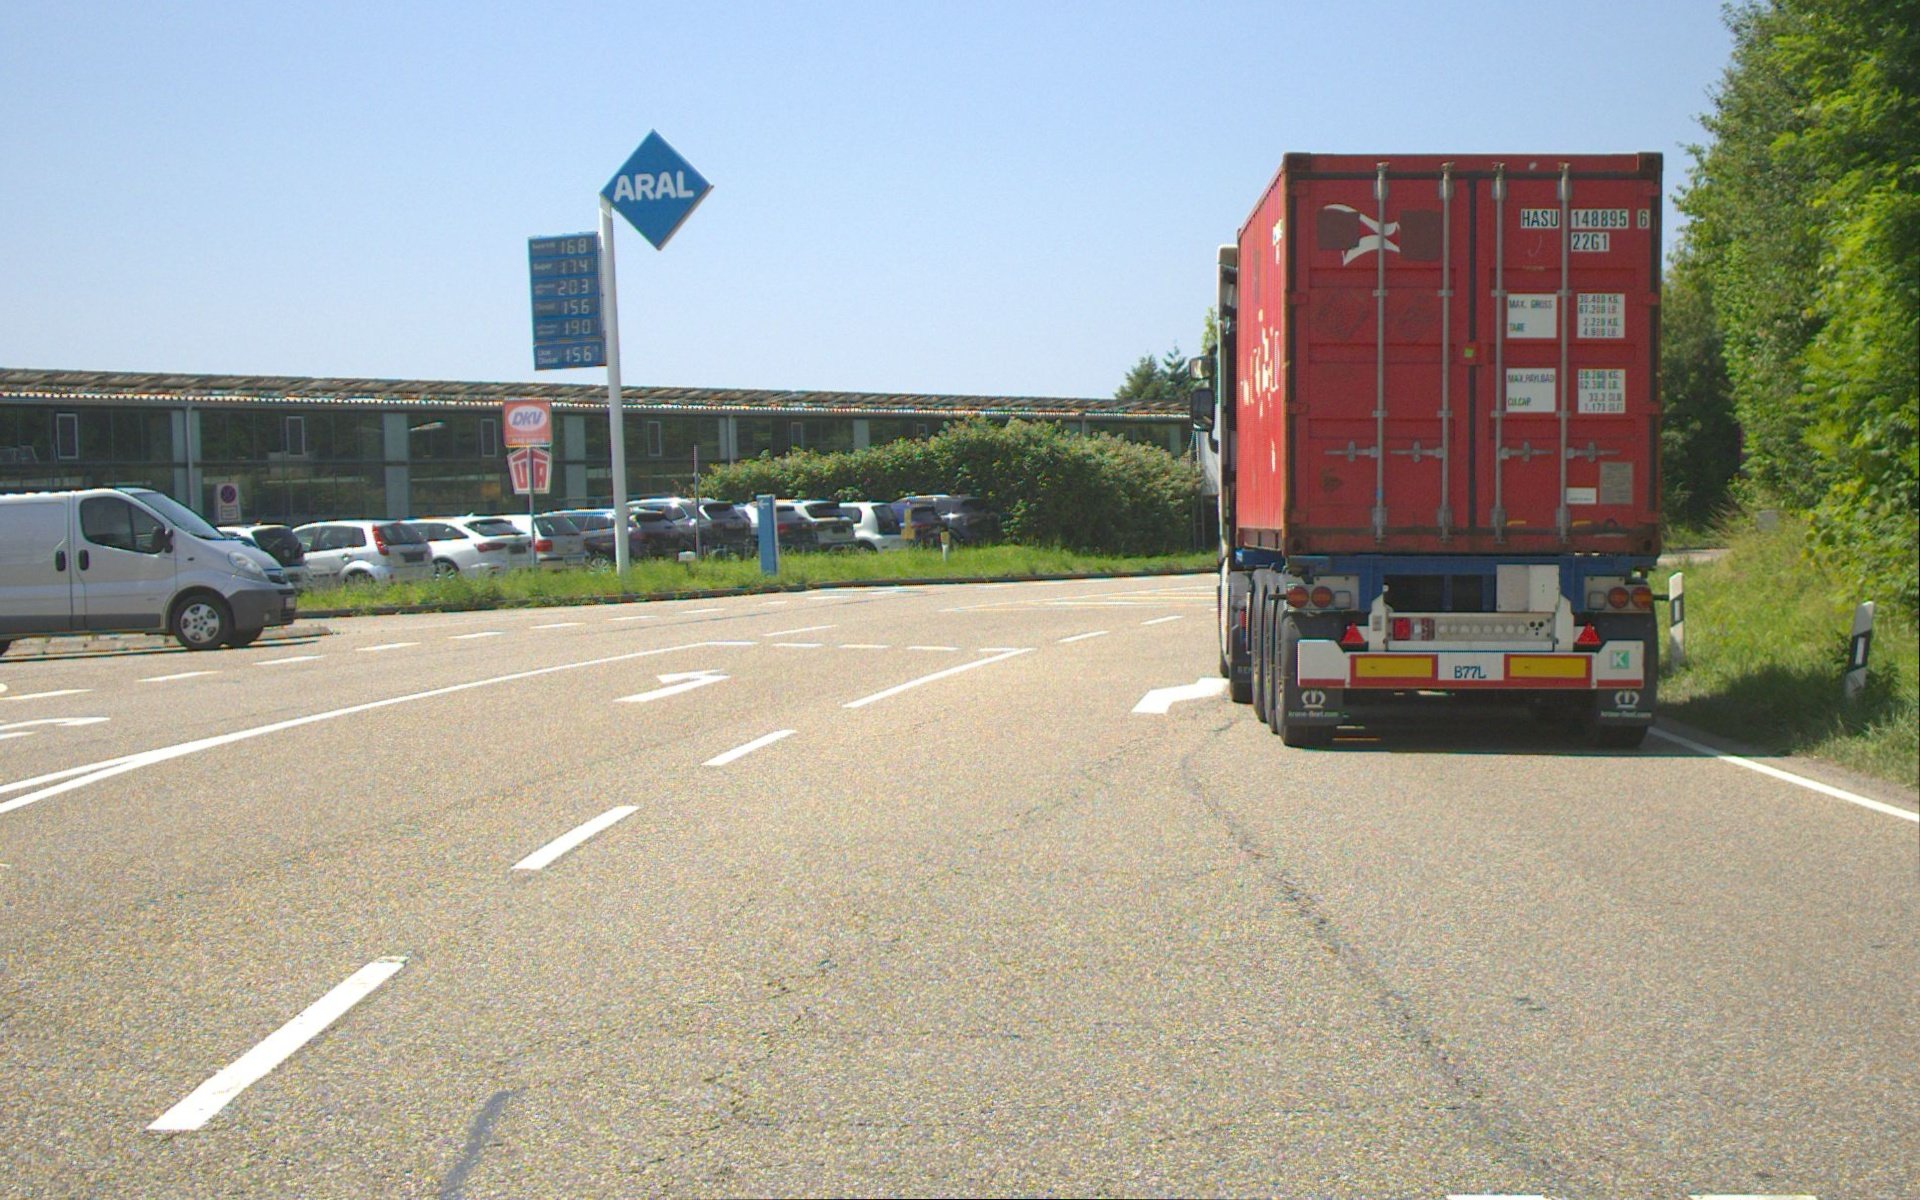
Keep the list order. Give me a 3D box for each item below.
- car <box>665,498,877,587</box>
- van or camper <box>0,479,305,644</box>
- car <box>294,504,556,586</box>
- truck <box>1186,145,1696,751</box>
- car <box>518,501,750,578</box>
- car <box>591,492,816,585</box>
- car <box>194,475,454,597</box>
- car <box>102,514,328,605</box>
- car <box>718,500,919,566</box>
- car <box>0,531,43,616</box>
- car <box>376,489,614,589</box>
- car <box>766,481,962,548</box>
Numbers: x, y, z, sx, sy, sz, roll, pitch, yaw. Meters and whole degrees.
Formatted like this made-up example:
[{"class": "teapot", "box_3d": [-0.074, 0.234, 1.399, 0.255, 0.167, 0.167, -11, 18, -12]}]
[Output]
[{"class": "car", "box_3d": [-4.036, -1.221, 73.416, 3.993, 1.744, 1.997, -1, 1, 28]}, {"class": "van or camper", "box_3d": [-10.346, -0.448, 40.575, 4.847, 1.898, 1.904, 0, 0, 2]}, {"class": "car", "box_3d": [-9.621, -0.993, 61.843, 4.242, 1.354, 1.997, -1, 2, 26]}, {"class": "truck", "box_3d": [3.505, -1.155, 28.643, 2.648, 3.793, 13.360, 2, 2, 2]}, {"class": "car", "box_3d": [-6.321, -1.167, 66.602, 3.993, 1.327, 1.997, -1, 1, 28]}, {"class": "car", "box_3d": [-5.124, -1.220, 68.595, 3.993, 1.744, 1.997, -1, 2, 28]}, {"class": "car", "box_3d": [-11.080, -1.122, 59.873, 3.992, 2.007, 1.997, -1, 2, 26]}, {"class": "car", "box_3d": [-12.550, -0.683, 57.904, 3.447, 1.436, 1.561, -1, 2, 25]}, {"class": "car", "box_3d": [-3.125, -1.474, 75.684, 3.992, 1.313, 1.831, -1, 1, 25]}, {"class": "car", "box_3d": [-19.383, -0.488, 64.507, 3.993, 1.577, 1.815, 0, 0, 27]}, {"class": "car", "box_3d": [-8.714, -1.138, 64.354, 3.993, 1.744, 1.932, -1, 2, 28]}, {"class": "car", "box_3d": [-2.176, -1.922, 77.619, 3.992, 1.357, 1.818, -1, 1, 25]}]
